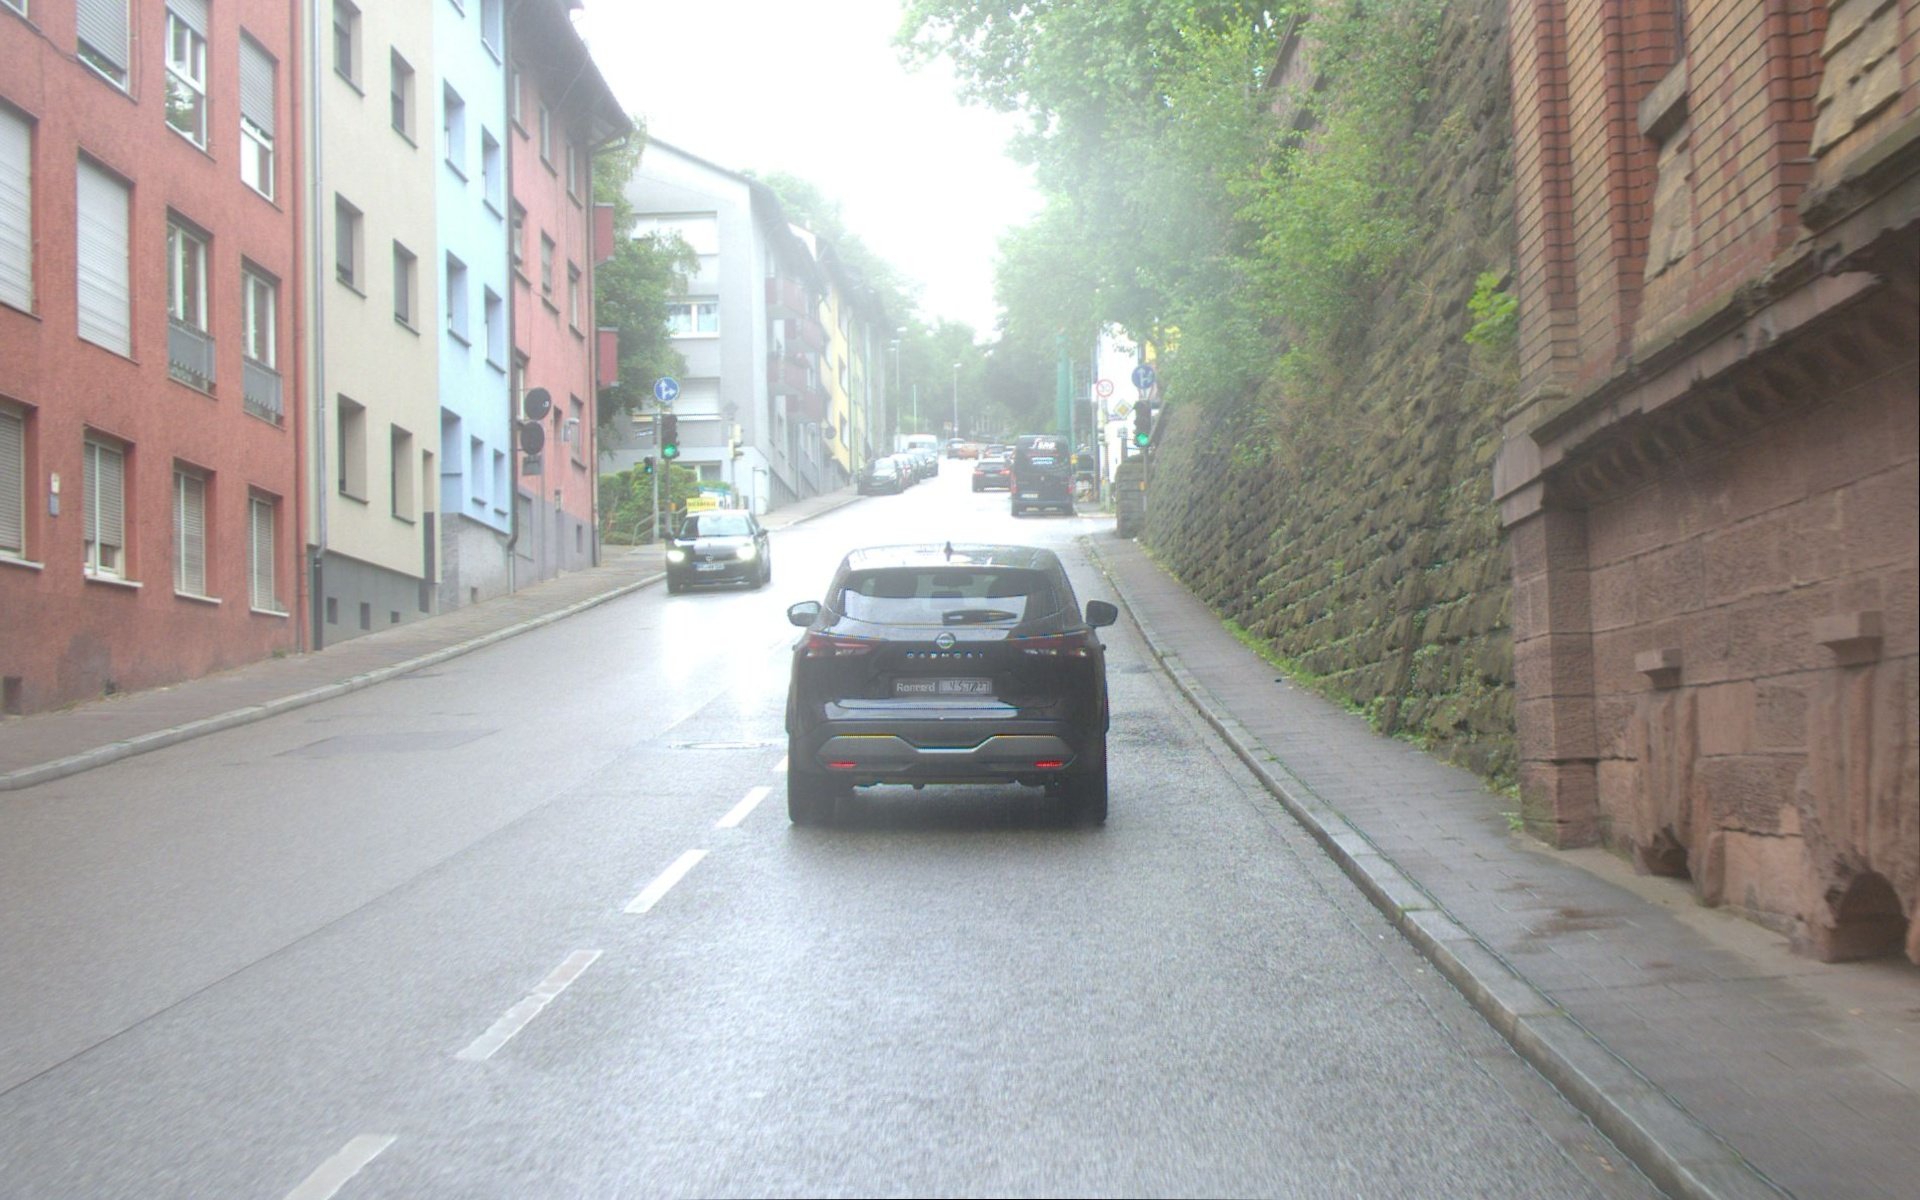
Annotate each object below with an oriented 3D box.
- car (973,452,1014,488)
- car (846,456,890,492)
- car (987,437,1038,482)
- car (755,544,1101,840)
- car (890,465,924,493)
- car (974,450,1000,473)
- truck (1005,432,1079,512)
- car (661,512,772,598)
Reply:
[{"bbox_3d":[1.514,-5.900,156.366,1.794,1.505,4.000,-1,1,1],"label":"car"},{"bbox_3d":[-4.163,-5.708,155.838,1.794,1.505,4.000,-1,1,1],"label":"car"},{"bbox_3d":[1.925,-5.112,125.615,1.794,1.505,4.500,-1,1,1],"label":"car"},{"bbox_3d":[-0.194,0.470,20.725,1.881,1.588,3.921,0,1,-1],"label":"car"},{"bbox_3d":[-3.078,-7.038,200.257,1.794,1.505,4.000,-1,1,1],"label":"car"},{"bbox_3d":[1.934,-9.900,245.445,1.794,1.505,4.000,-1,1,1],"label":"car"},{"bbox_3d":[2.627,-4.098,110.827,2.289,2.431,4.452,-1,1,1],"label":"truck"},{"bbox_3d":[-4.483,-0.853,63.712,1.714,1.443,3.922,-2,2,0],"label":"car"}]
